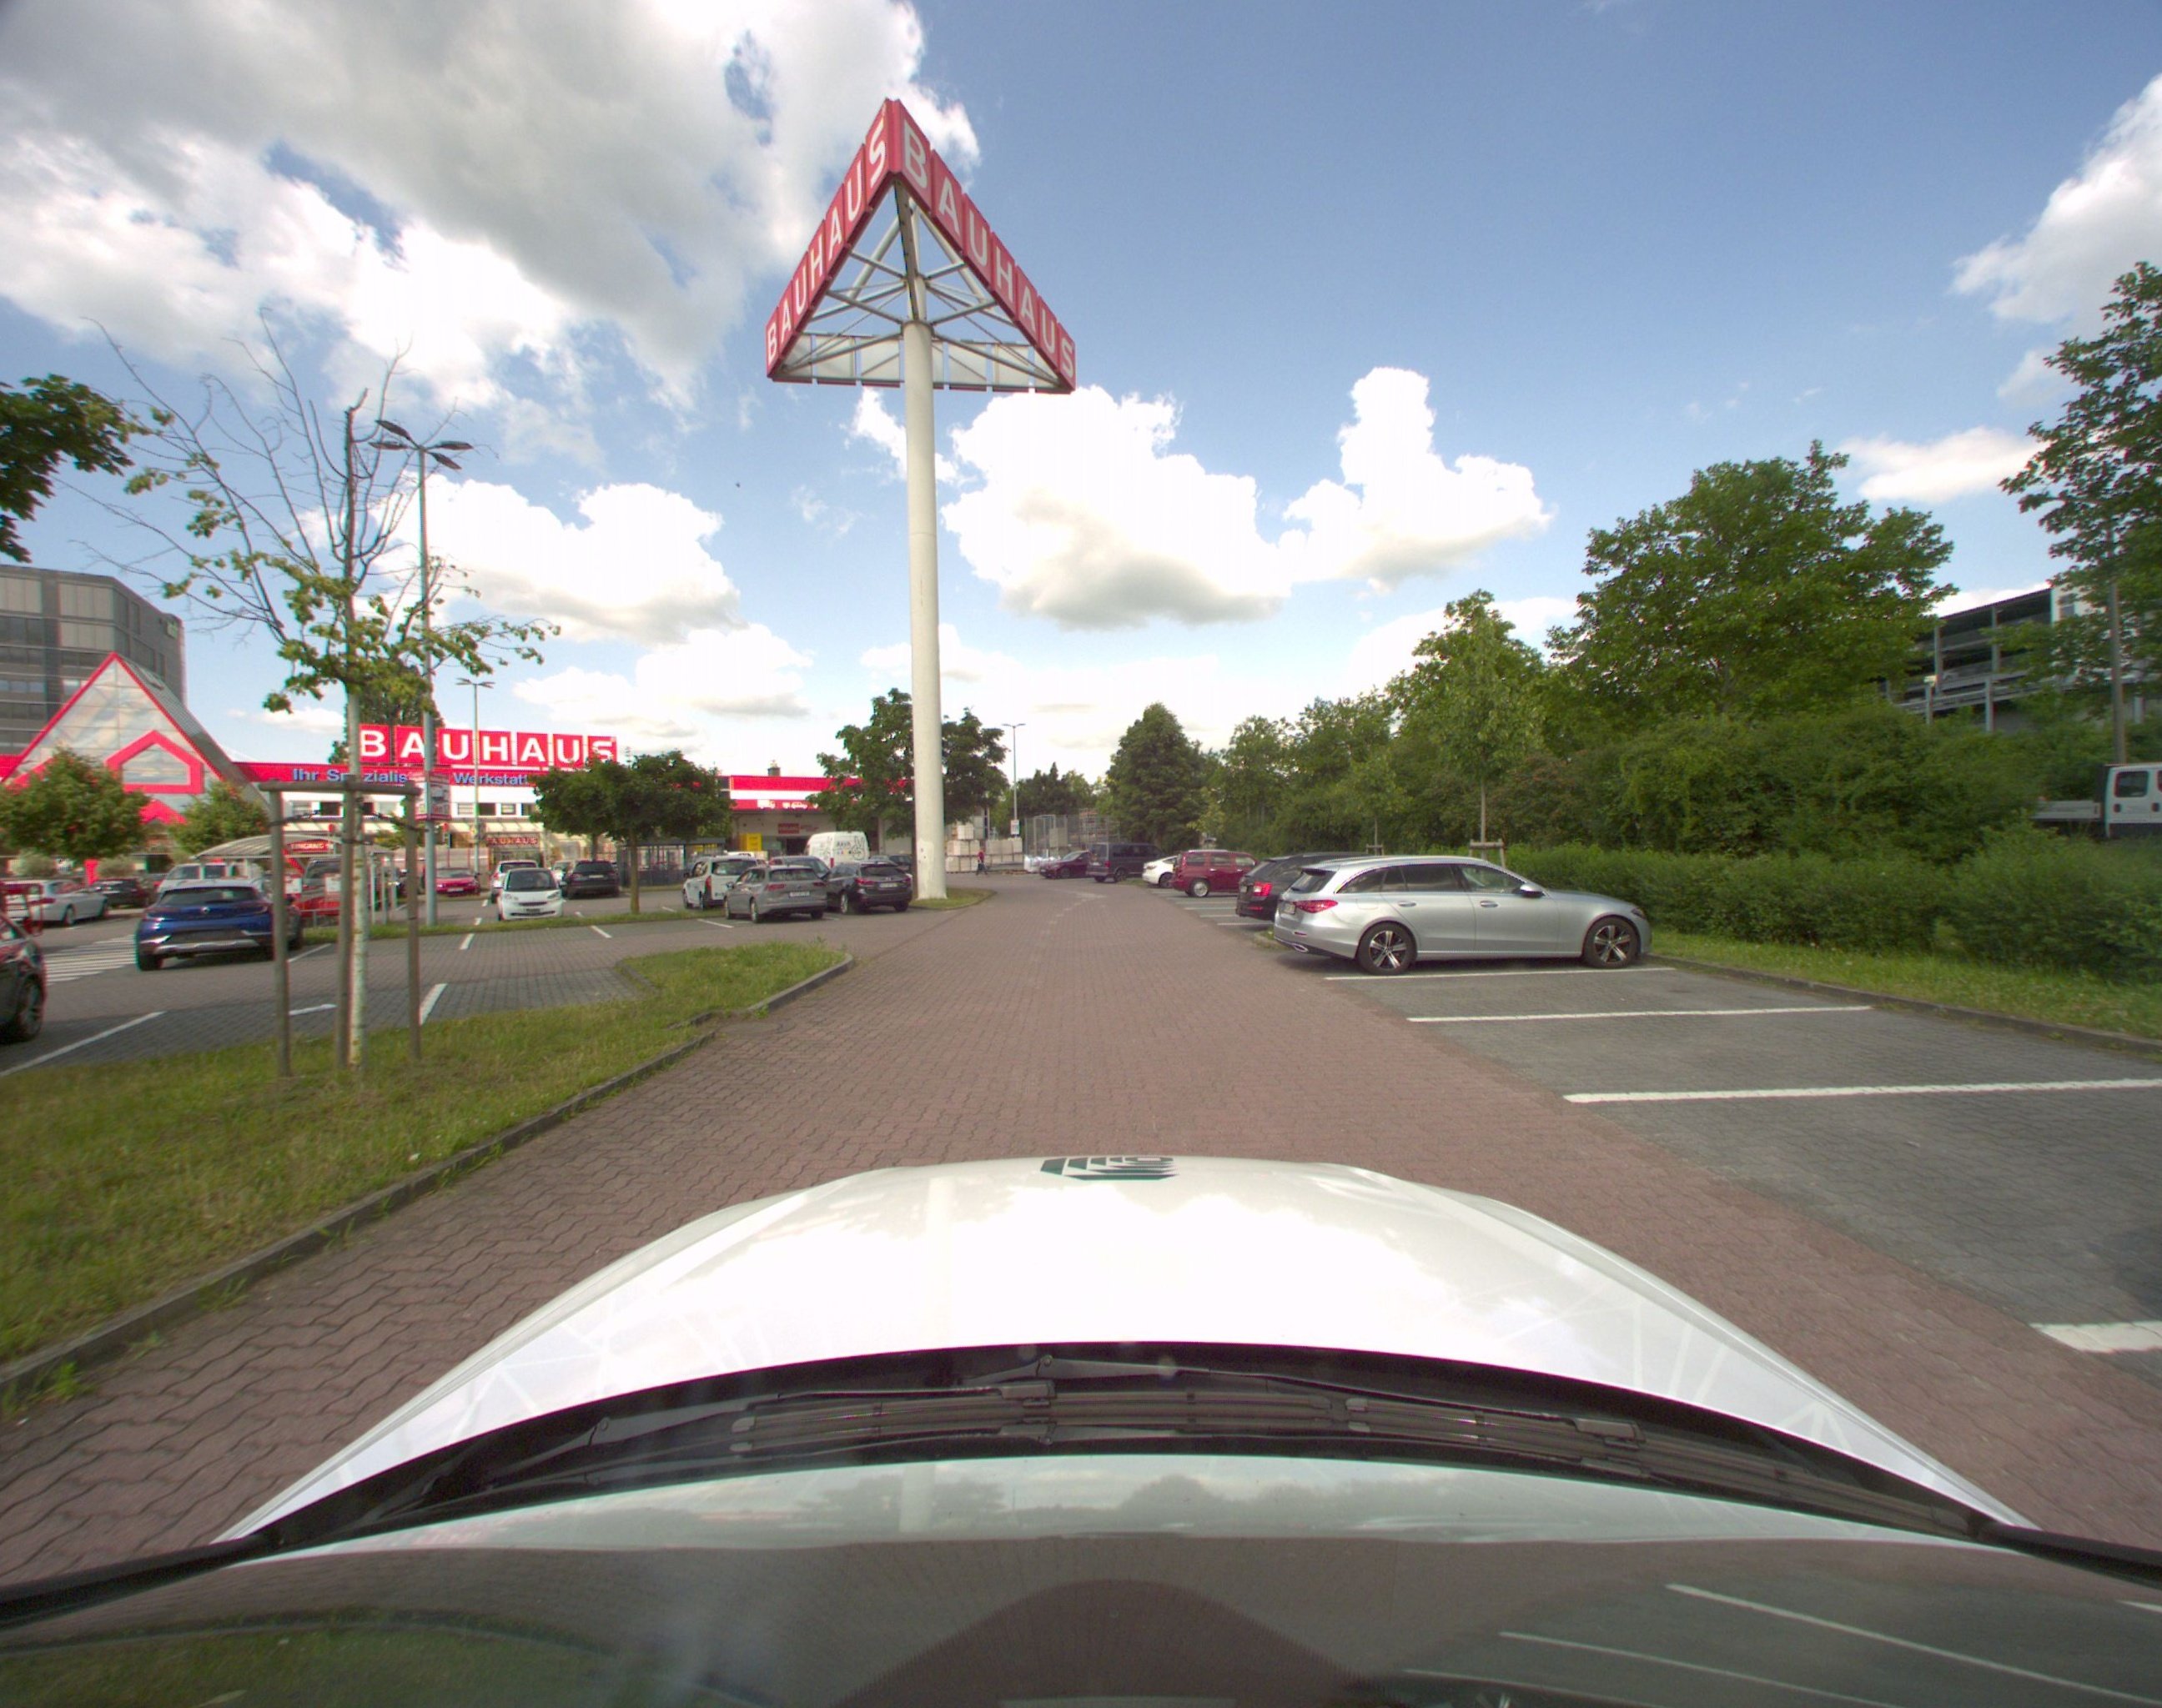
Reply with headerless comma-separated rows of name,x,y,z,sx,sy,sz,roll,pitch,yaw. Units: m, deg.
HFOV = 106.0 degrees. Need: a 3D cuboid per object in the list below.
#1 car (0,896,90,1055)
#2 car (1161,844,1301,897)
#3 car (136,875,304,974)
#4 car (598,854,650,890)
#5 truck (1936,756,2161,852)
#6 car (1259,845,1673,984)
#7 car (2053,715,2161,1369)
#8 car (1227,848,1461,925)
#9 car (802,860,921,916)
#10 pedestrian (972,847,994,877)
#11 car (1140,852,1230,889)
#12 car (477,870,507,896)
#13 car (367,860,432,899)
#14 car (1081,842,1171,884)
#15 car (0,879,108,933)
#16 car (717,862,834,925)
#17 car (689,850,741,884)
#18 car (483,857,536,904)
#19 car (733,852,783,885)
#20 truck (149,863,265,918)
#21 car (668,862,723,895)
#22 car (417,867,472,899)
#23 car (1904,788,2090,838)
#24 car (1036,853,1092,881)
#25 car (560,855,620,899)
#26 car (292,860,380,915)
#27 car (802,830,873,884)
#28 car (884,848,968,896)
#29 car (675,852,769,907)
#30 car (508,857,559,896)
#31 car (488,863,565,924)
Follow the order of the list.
car,-10.157,1.060,6.594,1.802,1.352,4.020,2,-3,-38
car,5.037,0.535,27.731,4.296,1.596,1.998,-2,0,-3
car,-16.699,1.265,15.986,1.761,1.615,3.681,-2,0,-39
car,-26.933,1.080,47.940,2.009,2.014,3.954,2,-3,-38
truck,27.375,-1.264,21.538,1.989,2.343,6.983,-2,0,-2
car,4.884,0.722,10.753,4.627,1.504,1.783,-2,0,-2
car,5.590,0.450,1.587,5.116,1.842,1.990,-2,0,-2
car,4.981,0.622,15.772,3.977,1.381,1.697,0,-2,-3
car,-6.483,0.942,23.766,1.837,1.439,4.043,-2,0,-39
pedestrian,-5.621,0.459,46.543,0.911,1.665,0.789,-2,0,27
car,4.438,0.721,35.169,3.622,1.468,1.633,-1,-1,-2
car,-33.926,1.652,46.897,1.169,1.425,2.508,2,-3,-40
car,-36.857,1.390,44.156,2.006,2.014,3.960,2,-2,-31
car,2.265,0.447,40.632,4.071,2.019,1.928,0,-2,-31
car,-32.757,1.595,25.540,2.009,1.509,3.955,-2,0,-37
car,-8.149,0.993,21.554,1.734,1.446,3.729,-2,0,-39
car,-22.757,0.841,50.613,2.009,2.014,3.954,2,-3,-38
car,-23.131,1.049,32.931,1.610,1.743,3.131,-3,1,-37
car,-20.925,0.934,52.668,2.010,2.014,3.954,0,-1,-38
truck,-34.676,1.407,32.496,1.867,2.014,5.351,2,-2,-34
car,-17.319,1.090,36.508,1.549,1.405,3.585,2,-2,-37
car,-28.095,1.277,35.929,1.751,1.340,3.425,2,-3,-40
car,35.496,-1.527,31.775,1.989,1.669,4.590,-2,0,-3
car,-0.919,0.715,44.197,2.696,1.432,1.342,1,-2,-28
car,-20.679,0.925,34.230,1.773,1.524,3.432,-3,4,-37
car,-26.810,1.150,29.425,2.010,1.778,3.954,-2,0,-38
car,-12.253,0.139,40.771,2.062,2.510,4.678,-1,0,-35
car,-5.977,0.656,30.991,2.005,1.618,3.963,-2,0,-28
car,-11.777,0.809,26.577,1.919,1.596,3.955,-2,0,-37
car,-30.406,1.261,45.209,2.009,2.014,3.954,2,-3,-38
car,-16.528,1.118,24.272,1.727,1.596,3.957,-2,0,-35
